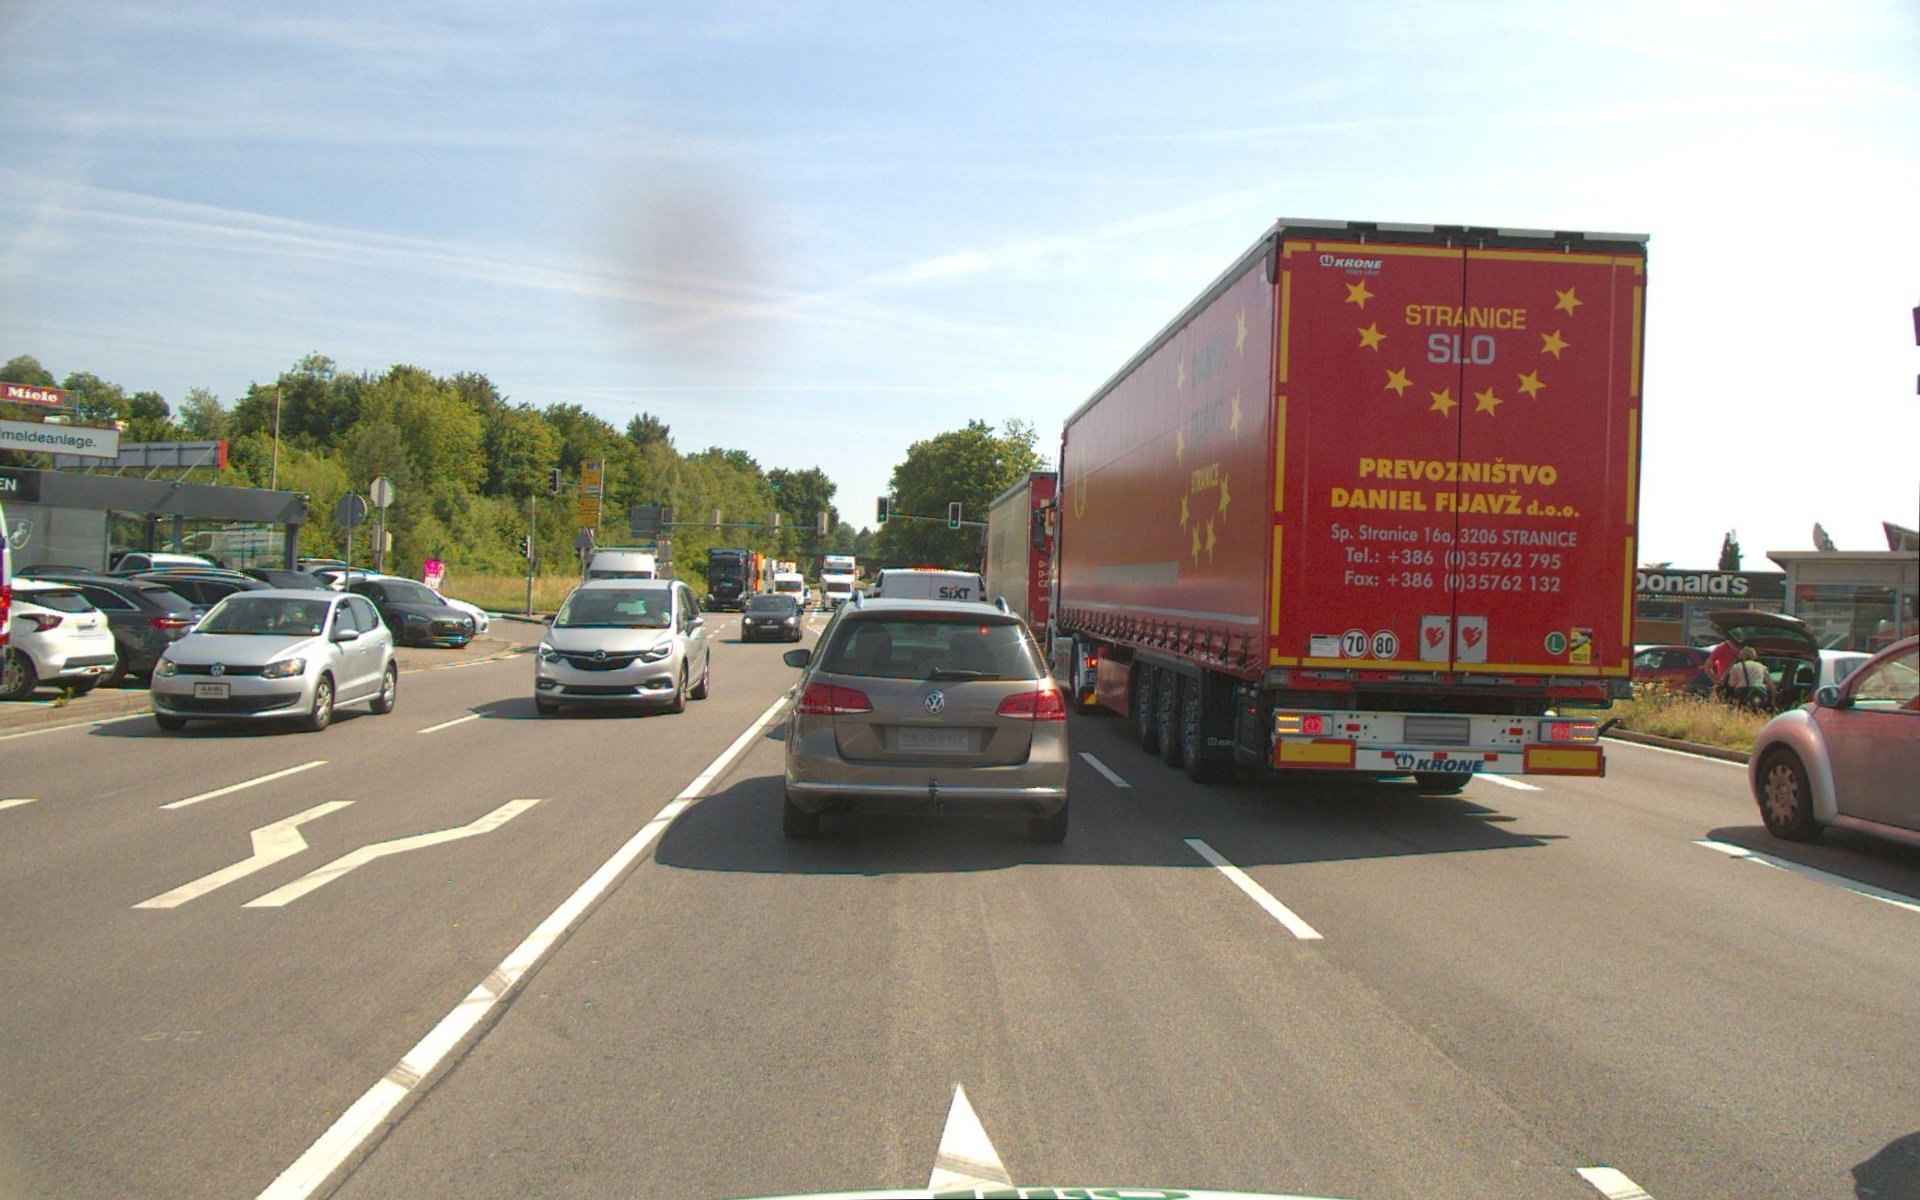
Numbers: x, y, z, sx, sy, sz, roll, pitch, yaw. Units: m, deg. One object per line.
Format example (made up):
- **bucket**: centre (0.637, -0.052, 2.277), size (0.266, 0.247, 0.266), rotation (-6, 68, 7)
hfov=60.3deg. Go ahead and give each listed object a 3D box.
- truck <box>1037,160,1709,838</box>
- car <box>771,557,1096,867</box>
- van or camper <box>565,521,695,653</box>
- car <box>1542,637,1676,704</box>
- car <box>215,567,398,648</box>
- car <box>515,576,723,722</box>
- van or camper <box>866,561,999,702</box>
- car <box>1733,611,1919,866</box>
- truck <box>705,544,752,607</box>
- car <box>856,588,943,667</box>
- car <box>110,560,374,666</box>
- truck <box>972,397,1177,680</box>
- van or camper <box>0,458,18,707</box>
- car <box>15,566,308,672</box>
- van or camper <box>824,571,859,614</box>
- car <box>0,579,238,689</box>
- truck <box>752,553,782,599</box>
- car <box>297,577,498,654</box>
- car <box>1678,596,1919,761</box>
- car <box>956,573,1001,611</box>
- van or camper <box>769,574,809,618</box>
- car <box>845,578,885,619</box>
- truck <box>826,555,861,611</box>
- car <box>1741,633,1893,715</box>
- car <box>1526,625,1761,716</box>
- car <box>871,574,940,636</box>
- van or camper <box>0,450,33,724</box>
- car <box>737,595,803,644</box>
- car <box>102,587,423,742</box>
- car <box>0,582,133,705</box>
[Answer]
- **truck**: centre (3.108, -0.678, 19.114), size (2.898, 4.344, 16.576), rotation (2, 0, -2)
- **car**: centre (-0.115, 0.615, 10.779), size (1.753, 1.667, 3.504), rotation (1, 0, 1)
- **van or camper**: centre (-8.613, -0.330, 43.762), size (2.163, 3.108, 5.901), rotation (4, 0, -1)
- **car**: centre (16.576, 1.761, 42.160), size (1.710, 1.562, 4.008), rotation (2, 0, 45)
- **car**: centre (-14.812, 0.155, 37.471), size (3.743, 1.723, 1.840), rotation (1, 0, 27)
- **car**: centre (-4.278, 0.572, 21.390), size (1.870, 1.692, 4.180), rotation (0, 0, -1)
- **van or camper**: centre (-0.478, 0.447, 25.312), size (1.815, 1.939, 3.782), rotation (2, 0, -3)
- **car**: centre (6.535, 0.847, 9.921), size (1.627, 1.497, 3.995), rotation (1, 0, -6)
- **truck**: centre (-14.760, -1.541, 105.922), size (2.759, 3.852, 6.981), rotation (0, 0, -6)
- **car**: centre (-1.228, 0.570, 34.792), size (1.691, 1.545, 3.312), rotation (2, -1, 0)
- **car**: centre (-12.351, 0.222, 28.640), size (3.740, 1.704, 1.841), rotation (1, 0, -3)
- **truck**: centre (2.248, -1.193, 40.099), size (3.001, 5.312, 16.999), rotation (2, 0, -2)
- **van or camper**: centre (-14.156, -0.273, 18.533), size (5.772, 2.923, 2.289), rotation (2, 0, -1)
- **car**: centre (-12.632, 0.296, 26.358), size (3.740, 1.566, 1.841), rotation (1, 0, -3)
- **van or camper**: centre (-8.343, -0.462, 116.914), size (2.179, 2.890, 5.708), rotation (2, -1, -2)
- **car**: centre (-12.569, 0.459, 23.539), size (3.740, 1.473, 1.841), rotation (1, 0, -3)
- **truck**: centre (-16.481, -2.043, 141.419), size (2.484, 3.852, 6.981), rotation (0, 0, -6)
- **car**: centre (-13.430, 0.342, 39.465), size (4.428, 1.723, 2.128), rotation (1, 0, 29)
- **car**: centre (11.338, 0.991, 21.461), size (3.788, 1.954, 1.688), rotation (2, 0, -28)
- **car**: centre (0.791, -0.337, 72.073), size (1.692, 1.545, 3.310), rotation (2, -1, -3)
- **van or camper**: centre (-10.464, -0.232, 101.278), size (2.130, 2.596, 4.168), rotation (2, 0, -3)
- **car**: centre (-4.716, -0.032, 82.417), size (1.691, 1.942, 3.312), rotation (2, -1, 1)
- **truck**: centre (-9.234, -1.327, 131.472), size (2.501, 4.383, 7.592), rotation (0, 0, -2)
- **car**: centre (18.287, 1.539, 35.218), size (1.964, 1.558, 3.977), rotation (2, 0, 41)
- **car**: centre (13.593, 1.375, 33.112), size (1.973, 1.558, 3.959), rotation (2, 0, -31)
- **car**: centre (-1.425, 0.139, 44.493), size (1.691, 1.545, 3.312), rotation (2, -1, 0)
- **van or camper**: centre (-12.290, -0.200, 16.144), size (5.139, 2.779, 2.210), rotation (2, 0, -1)
- **car**: centre (-5.760, 0.558, 50.505), size (1.632, 1.434, 3.925), rotation (0, 0, -1)
- **car**: centre (-7.408, 0.619, 18.036), size (1.799, 1.473, 4.080), rotation (1, 0, -1)
- **car**: centre (-12.773, 0.505, 20.851), size (3.740, 1.473, 1.841), rotation (1, 0, -3)
